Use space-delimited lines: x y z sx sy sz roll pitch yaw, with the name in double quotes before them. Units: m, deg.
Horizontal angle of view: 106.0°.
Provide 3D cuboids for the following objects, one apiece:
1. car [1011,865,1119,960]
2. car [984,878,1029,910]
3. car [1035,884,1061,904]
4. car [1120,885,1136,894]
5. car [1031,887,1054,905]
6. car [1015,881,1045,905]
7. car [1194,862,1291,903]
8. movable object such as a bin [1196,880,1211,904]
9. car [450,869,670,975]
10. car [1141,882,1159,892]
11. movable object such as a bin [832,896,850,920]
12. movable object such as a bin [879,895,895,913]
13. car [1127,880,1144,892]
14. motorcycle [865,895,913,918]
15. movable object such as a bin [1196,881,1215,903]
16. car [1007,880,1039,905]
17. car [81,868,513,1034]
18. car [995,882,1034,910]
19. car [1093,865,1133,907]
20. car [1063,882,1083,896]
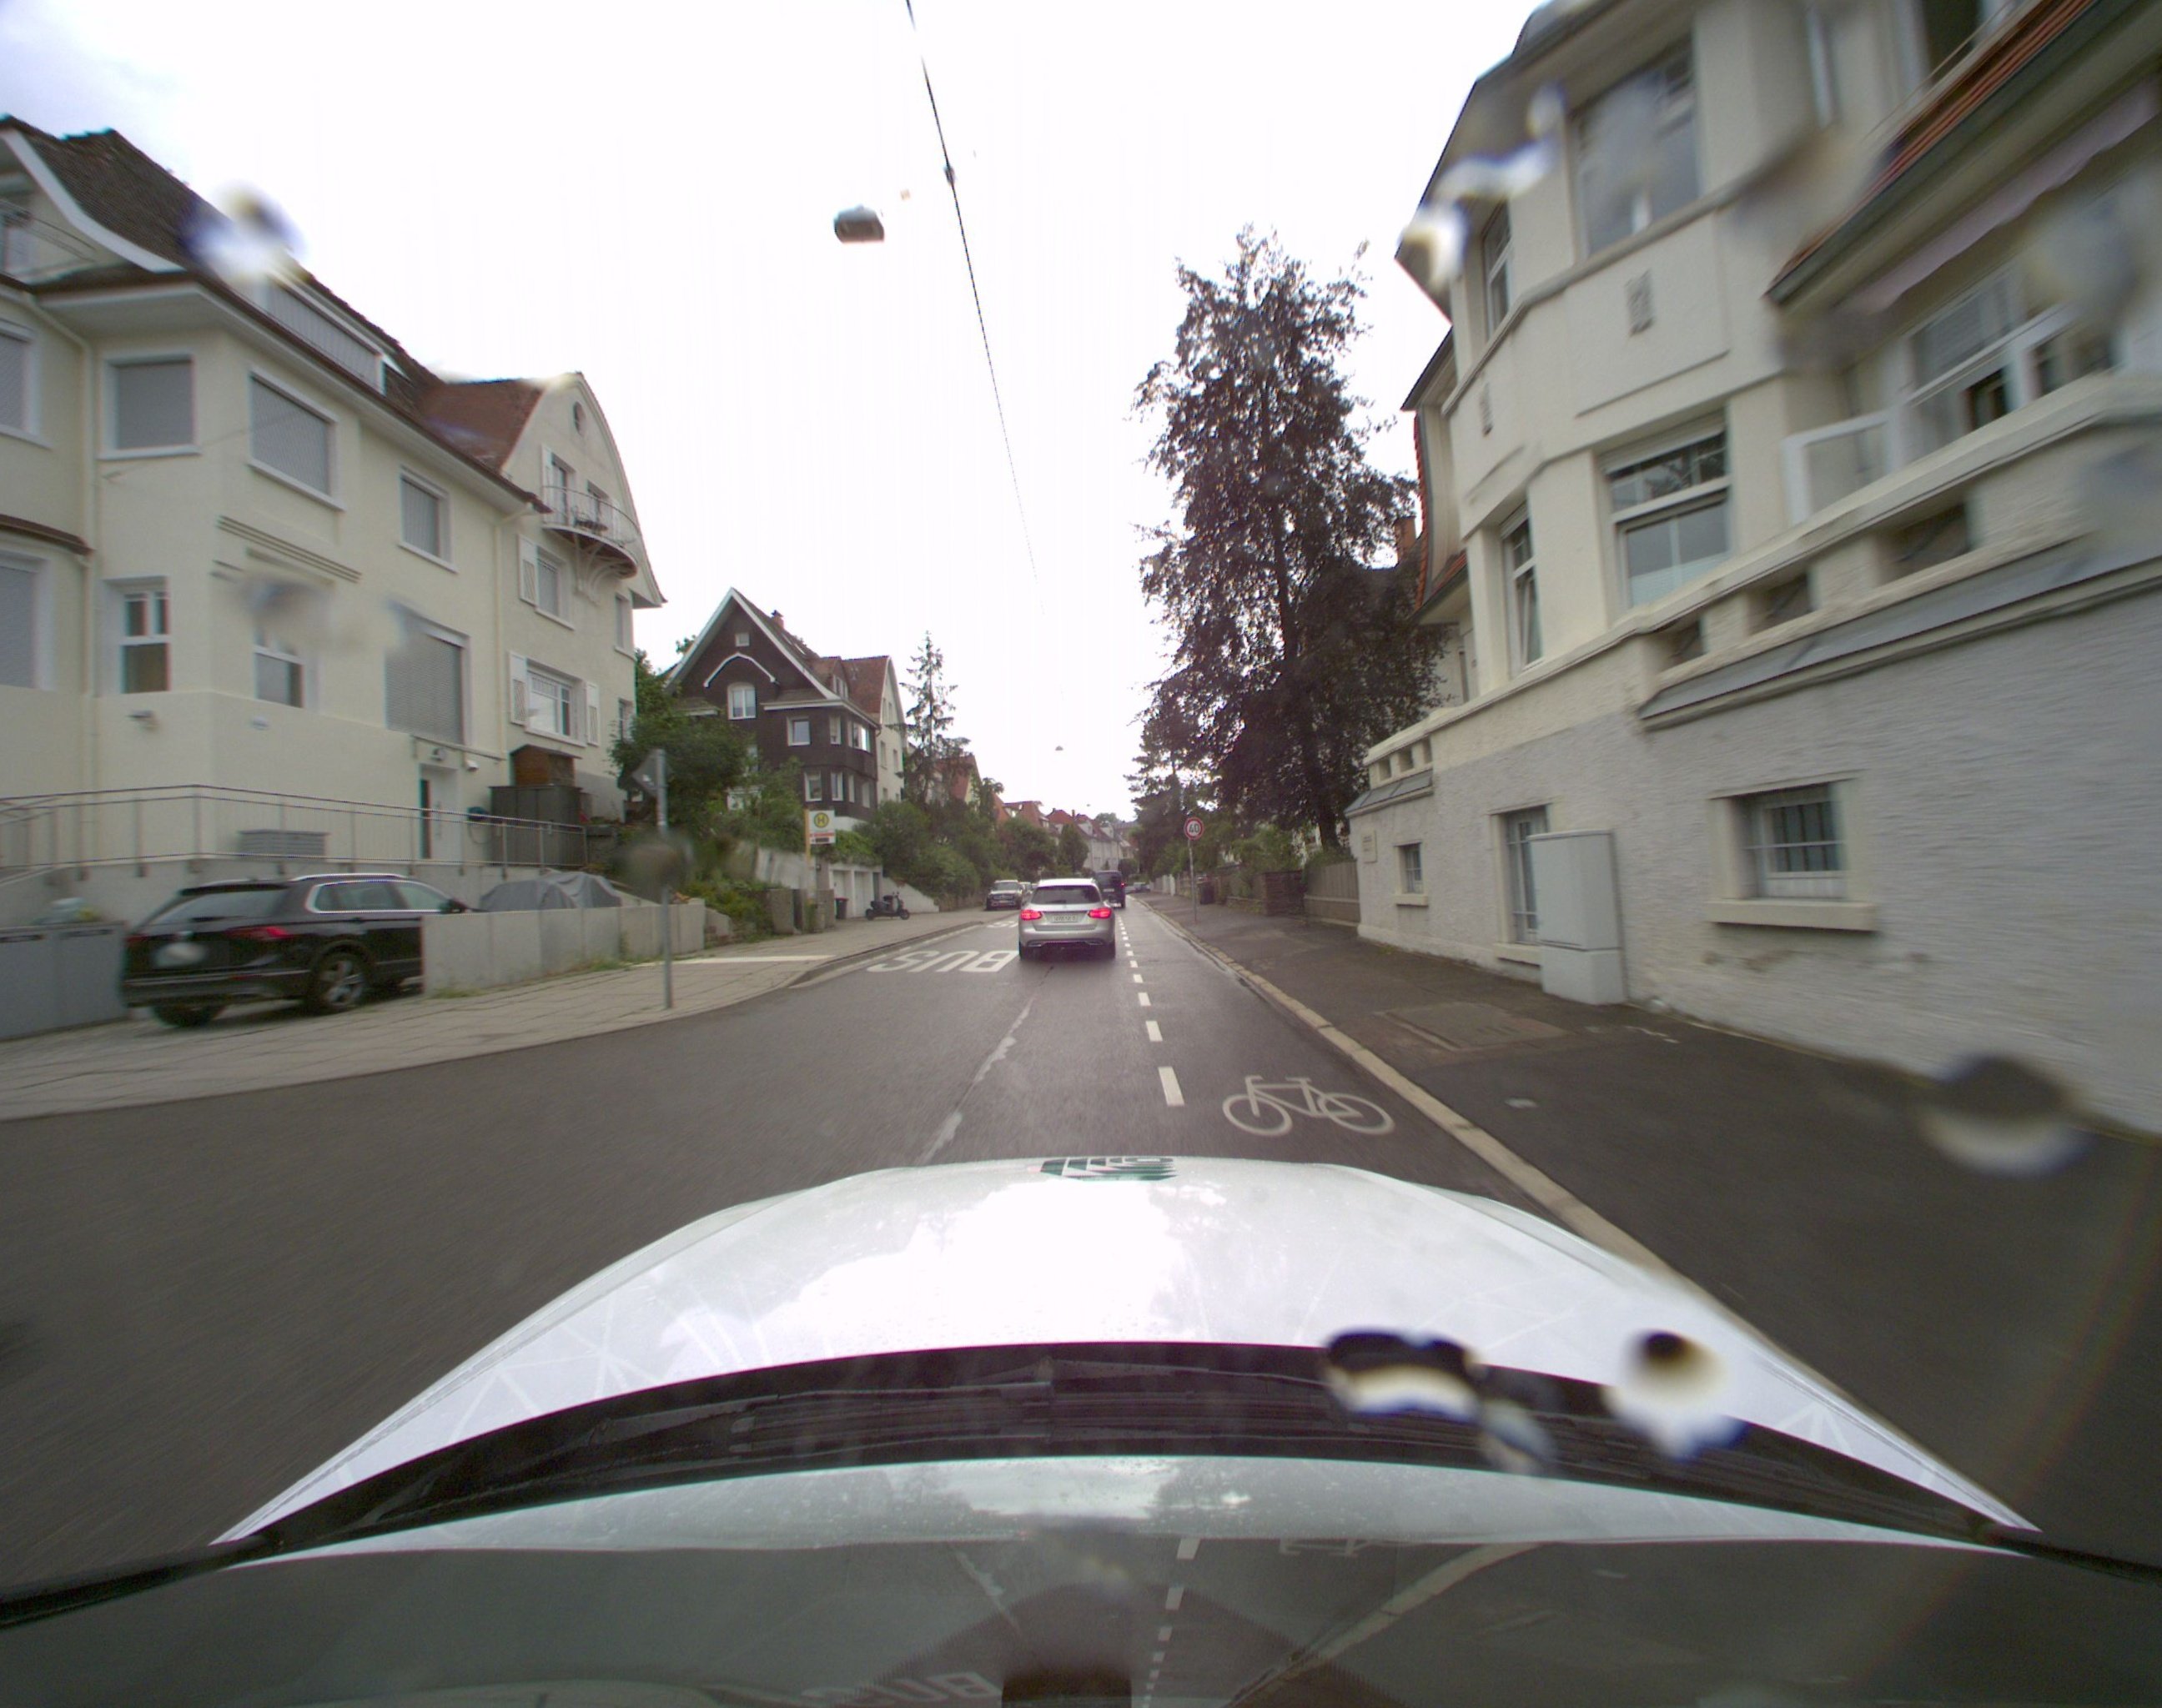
"car" -0.296 1.073 15.961 1.811 1.557 3.998 -2 -2 -1
"car" -4.022 2.143 44.450 1.886 1.622 4.379 -2 -2 1
"car" -3.165 3.843 78.683 1.985 1.879 5.359 -2 -2 3
"car" 8.092 6.051 140.118 1.631 1.417 4.632 -3 -2 16
"car" -3.383 3.696 72.000 1.688 1.447 3.815 -3 -2 2
"car" -3.652 2.802 59.022 1.749 1.447 4.417 -2 -1 1
"car" 7.198 1.256 36.590 3.972 1.640 1.919 -2 -1 1
"movable object such as a bin" 5.025 1.570 33.478 0.492 0.956 0.503 -2 -1 -1
"car" -9.845 1.192 15.828 1.761 1.696 3.996 -2 -1 -2
"car" 12.907 6.191 152.701 1.976 1.688 4.702 -3 -1 22
"movable object such as a bin" -9.993 2.242 33.921 0.572 0.954 0.512 -2 -1 -3
"movable object such as a bin" -9.852 2.551 41.393 0.625 0.889 0.482 -2 -1 -43
"car" 9.794 5.669 145.648 1.814 2.056 5.033 -3 -3 19
"motorcycle" -7.694 2.103 32.665 1.788 0.903 0.603 0 -2 1
"movable object such as a bin" 5.028 1.541 32.900 0.649 0.856 0.503 -2 -1 -1
"car" -3.806 2.539 54.134 1.690 1.541 3.814 -2 -2 1
"car" -9.587 1.044 10.524 1.761 1.618 3.996 -2 -1 -2
"car" -3.995 2.504 49.437 1.886 1.447 3.814 -2 -1 1
"car" 1.570 1.622 40.649 1.836 1.904 4.001 -2 -3 2
"car" -1.008 4.431 103.048 1.983 1.702 4.746 0 -2 6
